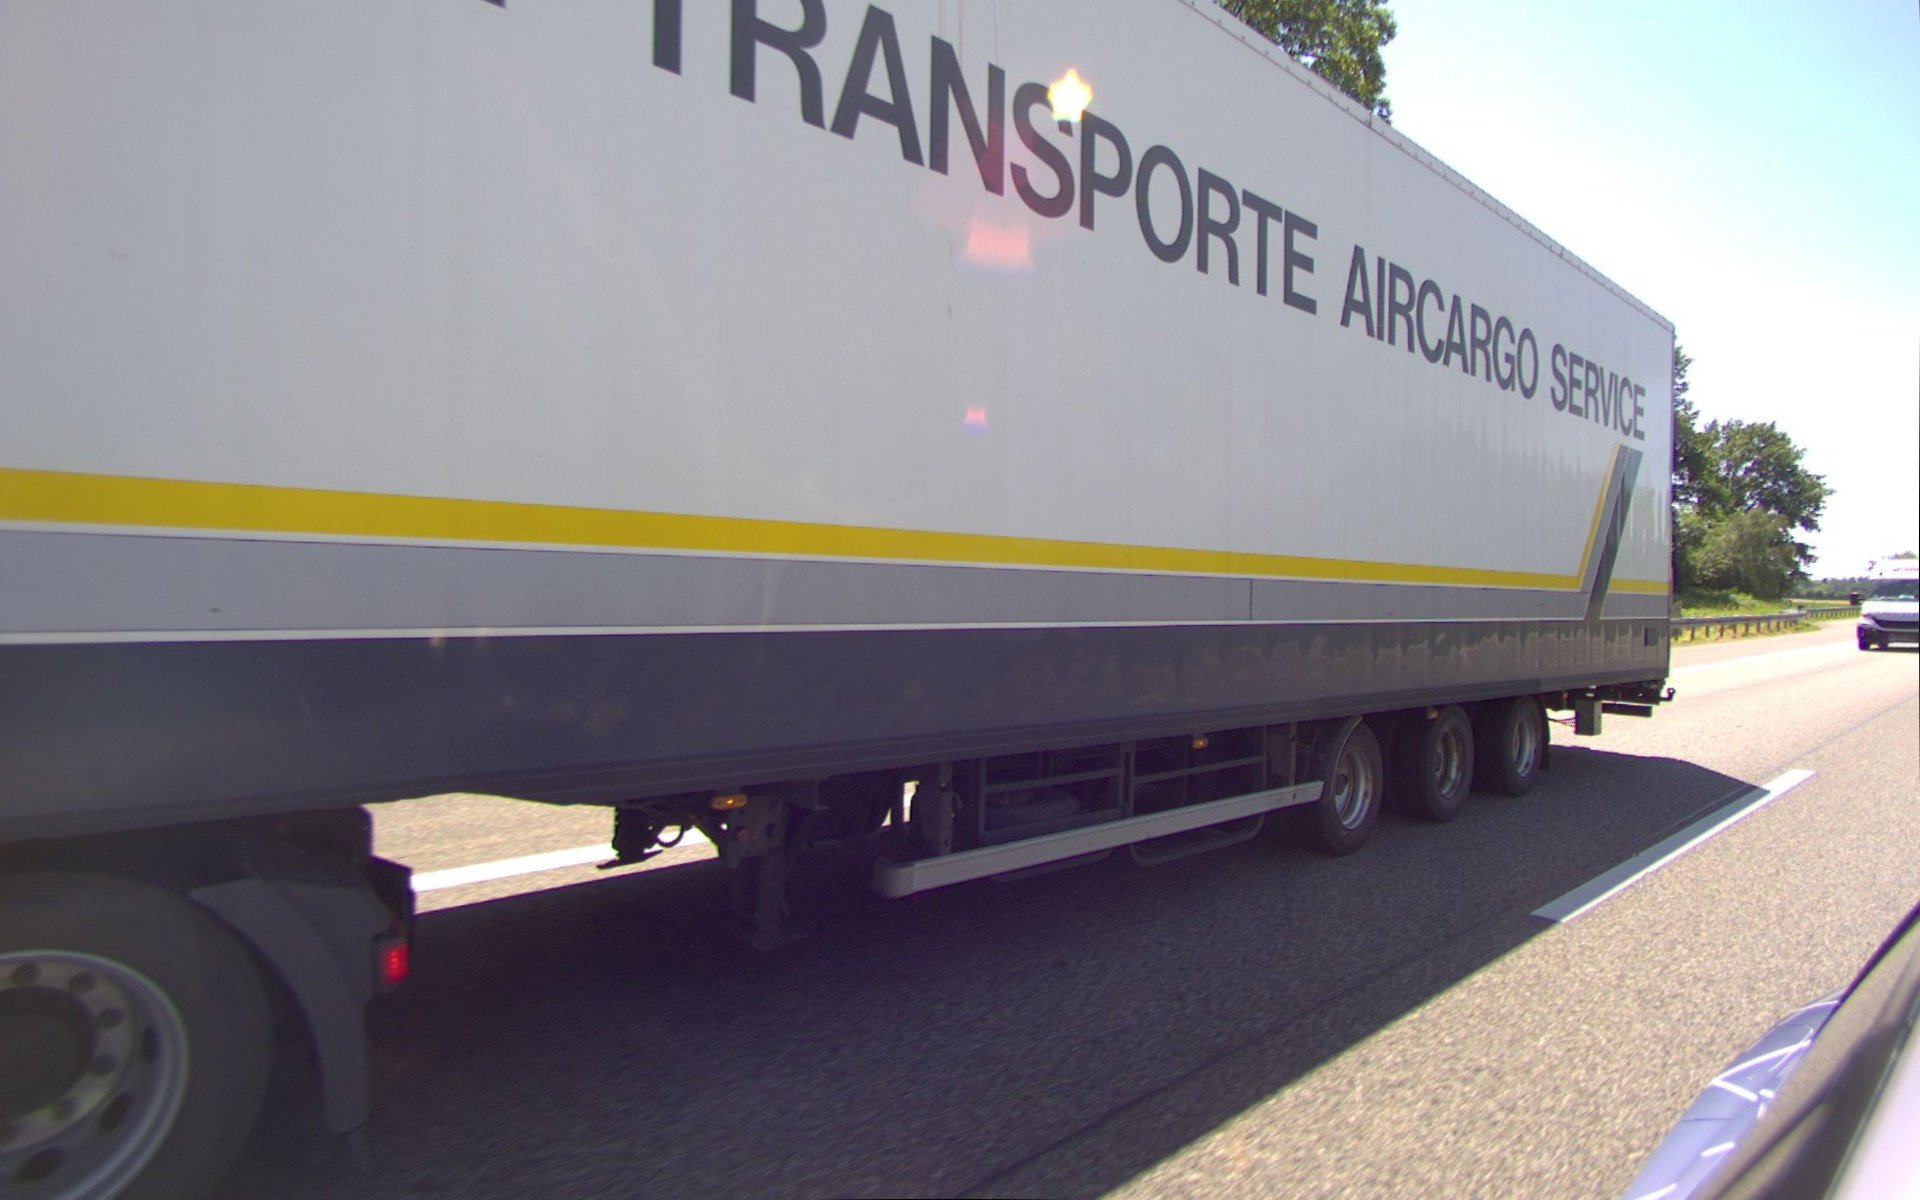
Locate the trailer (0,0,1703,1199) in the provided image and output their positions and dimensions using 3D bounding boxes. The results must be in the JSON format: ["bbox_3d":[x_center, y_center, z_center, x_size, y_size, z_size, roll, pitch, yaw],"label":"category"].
[{"bbox_3d":[0.955,-0.801,6.165,13.184,4.343,2.999,0,1,-41],"label":"trailer"}]

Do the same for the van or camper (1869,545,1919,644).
[{"bbox_3d":[28.327,-0.178,29.491,6.374,2.670,2.025,0,1,-41],"label":"van or camper"}]
